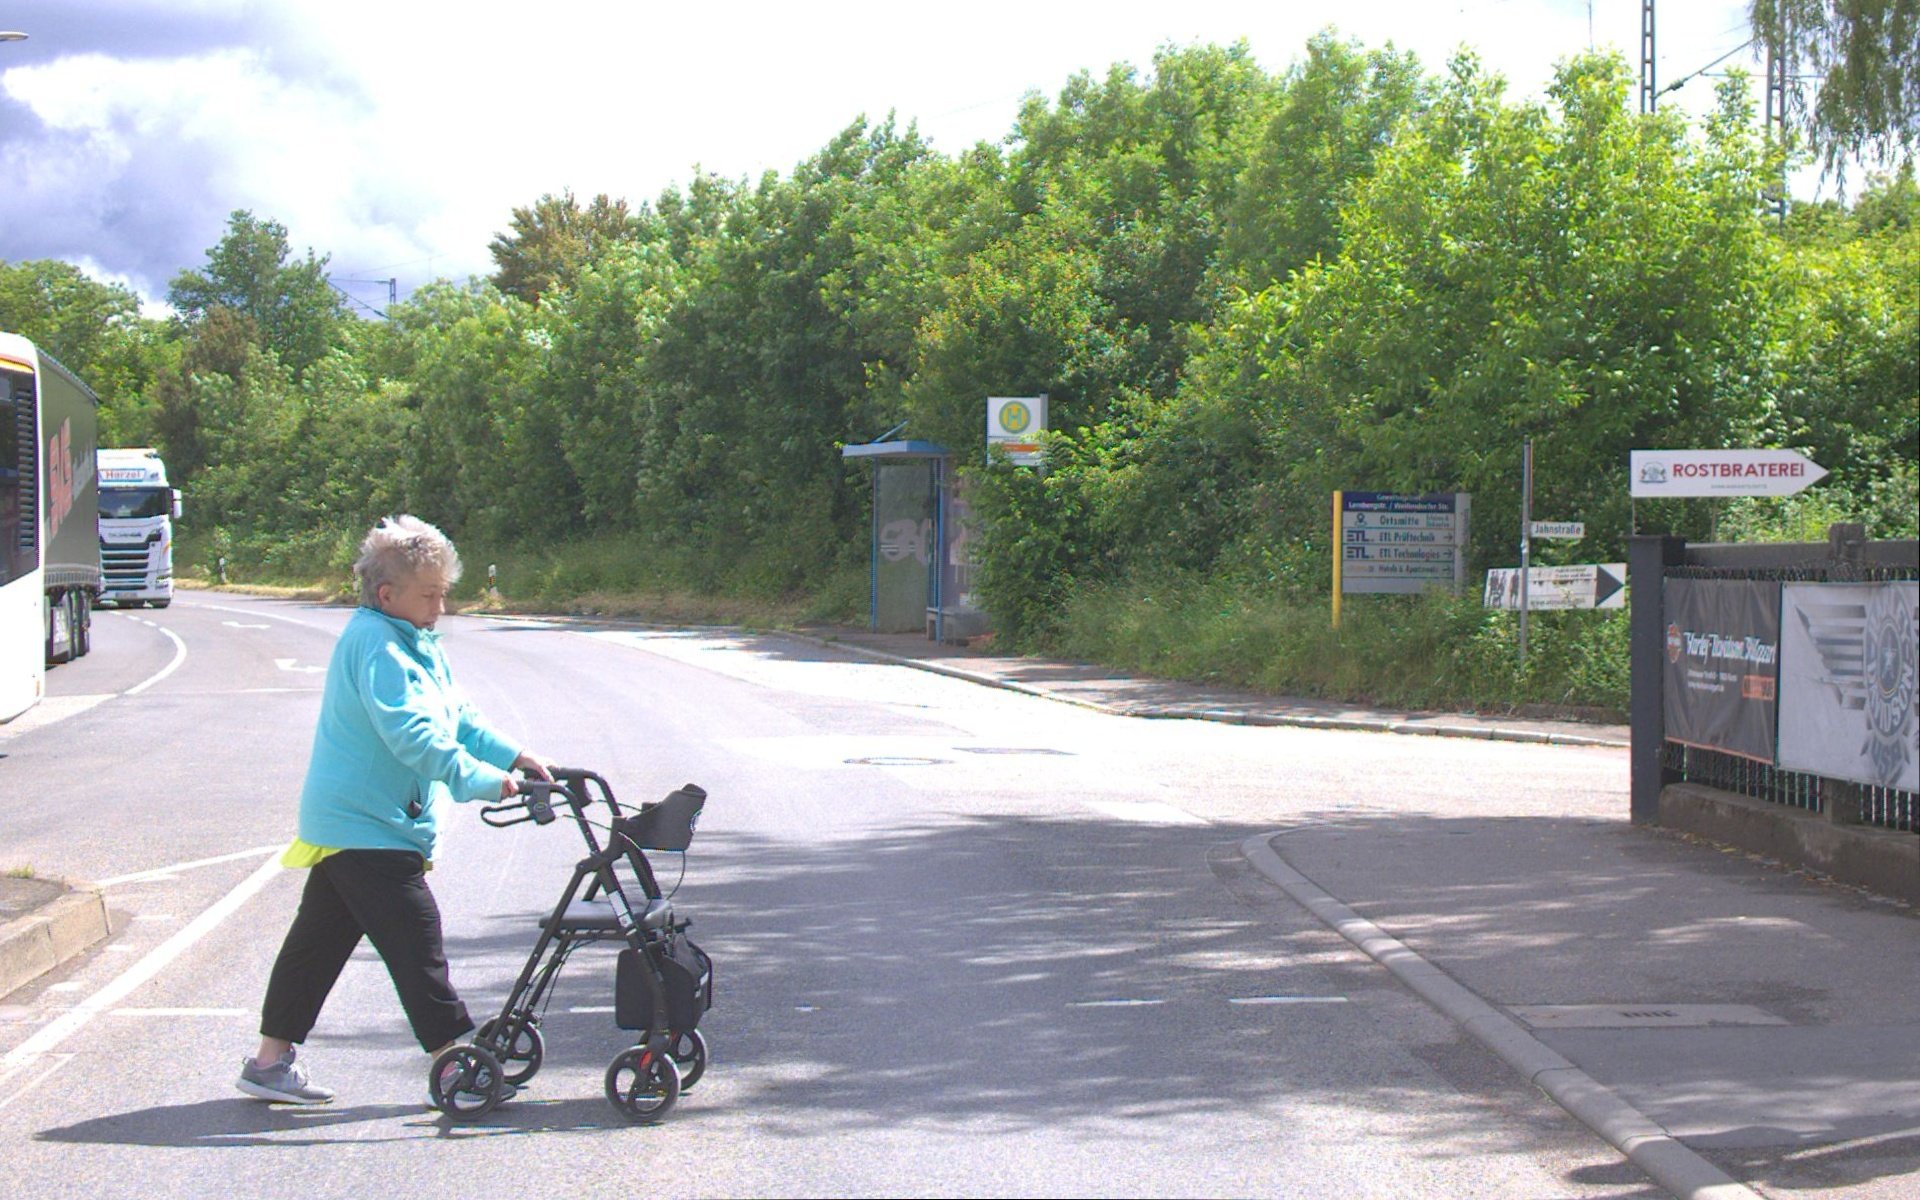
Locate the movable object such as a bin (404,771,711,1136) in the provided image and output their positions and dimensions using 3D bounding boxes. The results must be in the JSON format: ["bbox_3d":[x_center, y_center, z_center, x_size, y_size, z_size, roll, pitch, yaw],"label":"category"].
[{"bbox_3d":[-1.030,0.902,8.928,0.746,0.868,0.671,1,0,-4],"label":"movable object such as a bin"}]

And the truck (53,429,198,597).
[{"bbox_3d":[-21.216,-2.173,87.227,2.770,4.105,4.988,1,1,-23],"label":"truck"}]

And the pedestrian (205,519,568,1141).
[{"bbox_3d":[-1.463,0.569,8.895,0.838,1.538,0.734,1,0,-4],"label":"pedestrian"}]

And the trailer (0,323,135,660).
[{"bbox_3d":[-13.636,-1.410,48.849,2.798,4.039,15.560,1,1,-10],"label":"trailer"}]

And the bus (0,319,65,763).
[{"bbox_3d":[-7.840,-0.348,18.963,2.718,3.020,12.266,0,1,-1],"label":"bus"}]

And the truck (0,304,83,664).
[{"bbox_3d":[-12.335,-1.357,41.663,2.798,4.039,6.503,1,1,-10],"label":"truck"}]
